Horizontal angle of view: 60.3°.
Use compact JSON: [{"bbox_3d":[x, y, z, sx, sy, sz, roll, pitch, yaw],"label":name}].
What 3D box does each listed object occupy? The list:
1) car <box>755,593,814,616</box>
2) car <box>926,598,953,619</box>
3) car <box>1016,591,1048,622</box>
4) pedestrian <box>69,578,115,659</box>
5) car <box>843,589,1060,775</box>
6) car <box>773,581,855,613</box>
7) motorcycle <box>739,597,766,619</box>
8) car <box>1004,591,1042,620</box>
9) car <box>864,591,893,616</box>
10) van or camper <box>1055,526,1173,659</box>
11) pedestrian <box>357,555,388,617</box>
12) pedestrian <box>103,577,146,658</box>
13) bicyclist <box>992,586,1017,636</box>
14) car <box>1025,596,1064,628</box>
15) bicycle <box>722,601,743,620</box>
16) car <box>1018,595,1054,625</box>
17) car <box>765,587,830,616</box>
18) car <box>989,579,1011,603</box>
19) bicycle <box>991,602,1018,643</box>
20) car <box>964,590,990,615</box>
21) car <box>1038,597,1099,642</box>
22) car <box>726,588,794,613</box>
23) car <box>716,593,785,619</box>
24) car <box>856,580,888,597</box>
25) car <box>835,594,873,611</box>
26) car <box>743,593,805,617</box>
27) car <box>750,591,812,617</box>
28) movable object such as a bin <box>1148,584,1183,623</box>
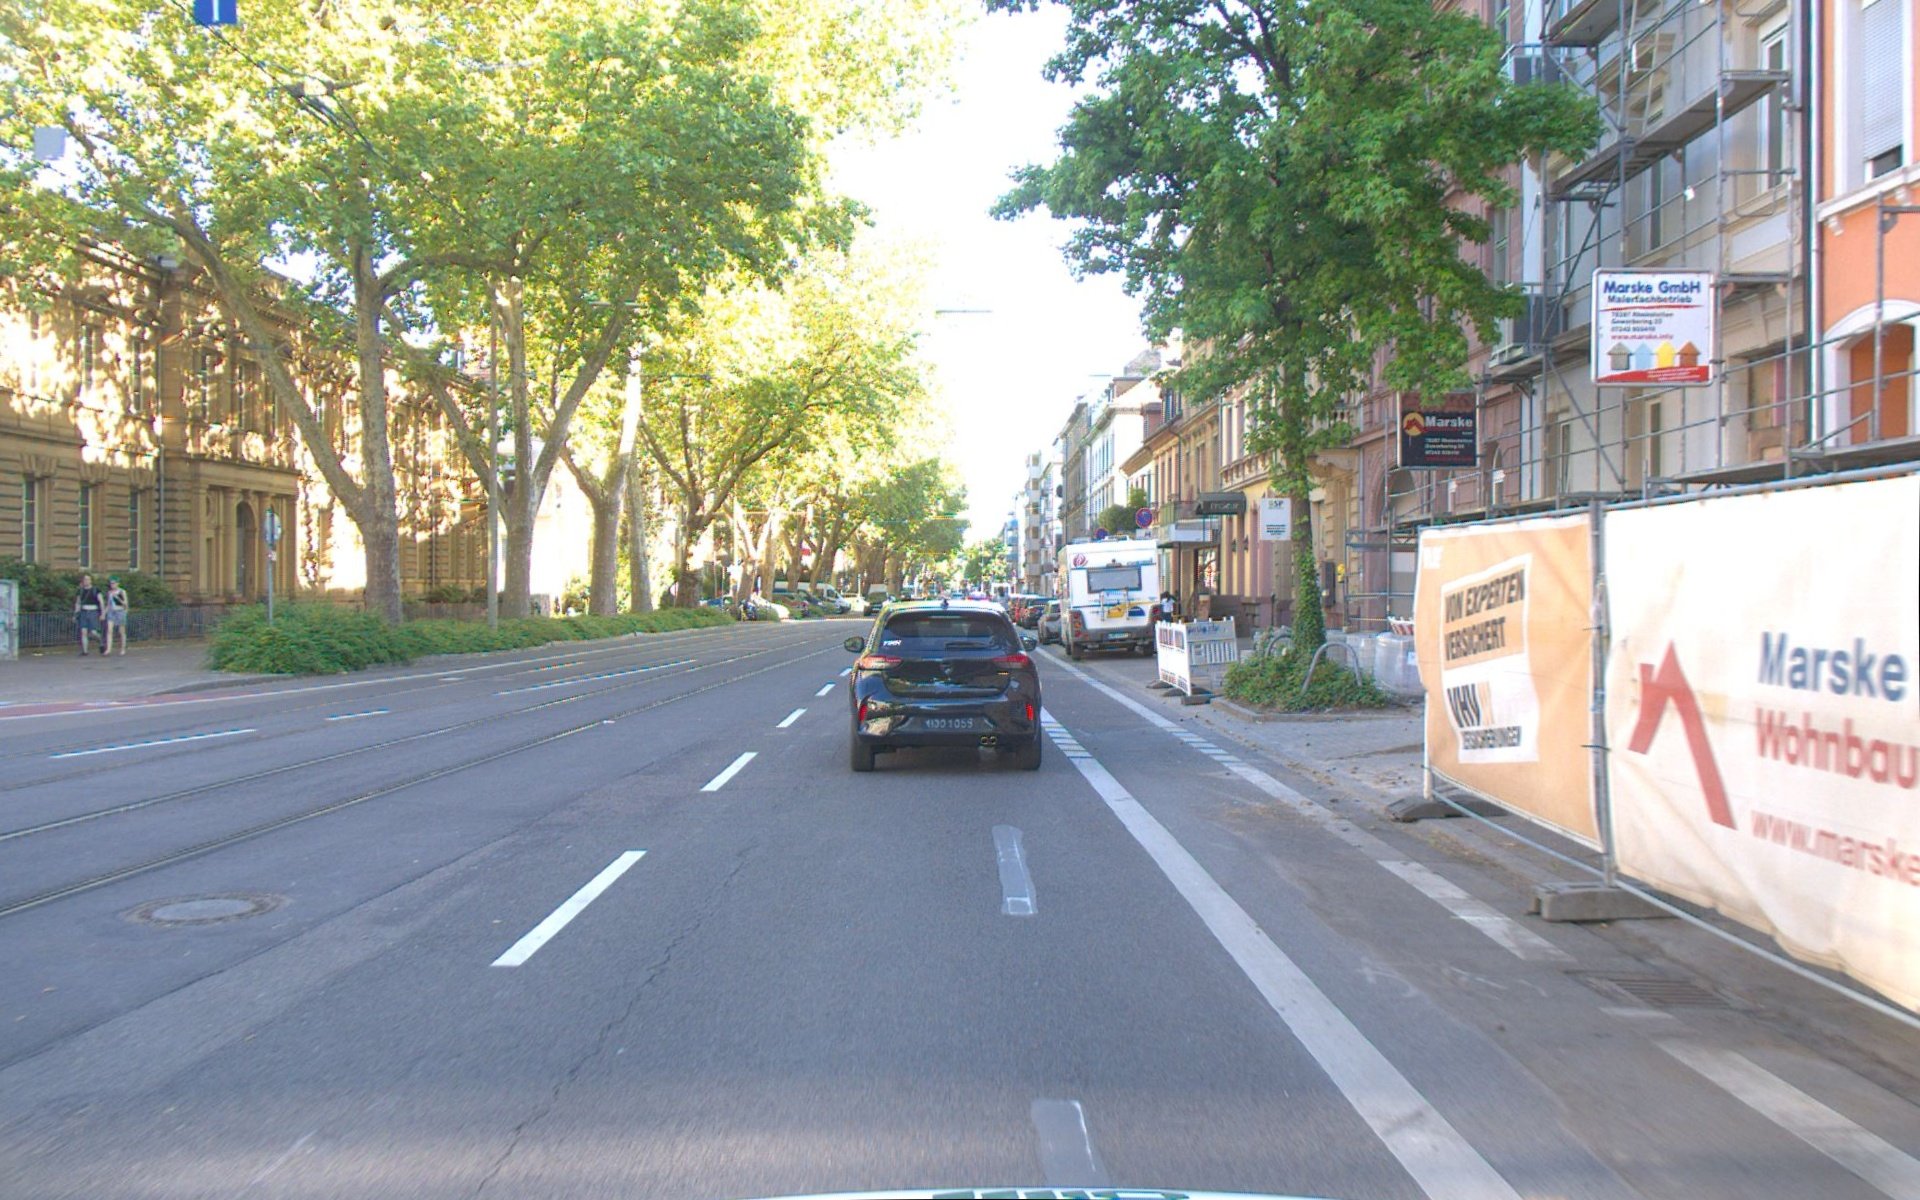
[{"bbox_3d":[-12.048,0.332,113.768,3.840,1.446,1.818,2,0,-1],"label":"car"},{"bbox_3d":[-1.376,0.579,113.977,1.772,1.361,3.933,0,0,0],"label":"car"},{"bbox_3d":[3.825,0.338,88.101,1.600,1.574,3.576,-1,0,1],"label":"car"},{"bbox_3d":[-18.652,0.395,35.553,0.658,1.727,0.661,1,0,-7],"label":"pedestrian"},{"bbox_3d":[-0.068,0.659,15.275,1.757,1.466,3.531,1,1,0],"label":"car"},{"bbox_3d":[-12.167,-0.277,138.295,6.492,2.451,2.458,2,0,0],"label":"car"},{"bbox_3d":[-11.207,0.407,89.333,0.865,1.167,2.392,1,0,8],"label":"motorcycle"},{"bbox_3d":[3.778,0.348,99.382,1.843,1.613,3.930,-3,0,-3],"label":"car"},{"bbox_3d":[-5.790,0.218,117.385,1.828,1.658,4.560,0,1,0],"label":"car"},{"bbox_3d":[3.890,-0.183,43.296,2.426,3.023,7.885,-3,0,1],"label":"van or camper"},{"bbox_3d":[-18.178,-0.437,51.211,0.705,1.882,0.836,1,0,-7],"label":"pedestrian"},{"bbox_3d":[-17.994,0.378,35.639,0.622,1.727,0.655,1,0,-7],"label":"pedestrian"},{"bbox_3d":[1.585,0.395,59.084,0.831,1.770,1.161,1,0,-1],"label":"bicyclist"},{"bbox_3d":[3.857,0.520,75.936,1.659,1.417,4.495,-1,0,1],"label":"car"},{"bbox_3d":[-12.284,0.566,89.349,0.529,0.957,2.035,1,0,8],"label":"bicycle"},{"bbox_3d":[3.820,0.482,83.641,1.617,1.482,3.868,-1,0,0],"label":"car"},{"bbox_3d":[-12.117,0.116,123.322,4.578,1.957,1.980,2,0,1],"label":"car"},{"bbox_3d":[4.054,-0.923,166.094,2.033,2.257,4.934,-3,0,1],"label":"car"},{"bbox_3d":[1.590,0.795,59.030,0.843,1.431,2.523,1,0,-1],"label":"bicycle"},{"bbox_3d":[1.220,0.179,119.080,1.772,1.772,3.933,0,0,1],"label":"car"},{"bbox_3d":[3.700,0.645,57.012,1.772,1.460,4.664,-1,0,0],"label":"car"},{"bbox_3d":[-12.136,0.040,100.567,3.839,1.488,1.806,0,0,0],"label":"car"},{"bbox_3d":[-12.370,0.367,97.721,3.841,1.478,1.800,0,0,0],"label":"car"},{"bbox_3d":[-10.626,-1.395,199.769,3.841,1.821,1.676,2,0,-3],"label":"car"},{"bbox_3d":[-10.829,0.249,169.089,3.841,1.524,1.676,2,0,-3],"label":"car"},{"bbox_3d":[-12.251,0.328,109.092,3.839,1.467,1.749,2,0,0],"label":"car"},{"bbox_3d":[-12.051,0.262,111.364,3.913,1.655,1.879,2,0,0],"label":"car"},{"bbox_3d":[8.405,0.136,67.655,1.267,1.547,1.286,1,0,0],"label":"movable object such as a bin"}]
